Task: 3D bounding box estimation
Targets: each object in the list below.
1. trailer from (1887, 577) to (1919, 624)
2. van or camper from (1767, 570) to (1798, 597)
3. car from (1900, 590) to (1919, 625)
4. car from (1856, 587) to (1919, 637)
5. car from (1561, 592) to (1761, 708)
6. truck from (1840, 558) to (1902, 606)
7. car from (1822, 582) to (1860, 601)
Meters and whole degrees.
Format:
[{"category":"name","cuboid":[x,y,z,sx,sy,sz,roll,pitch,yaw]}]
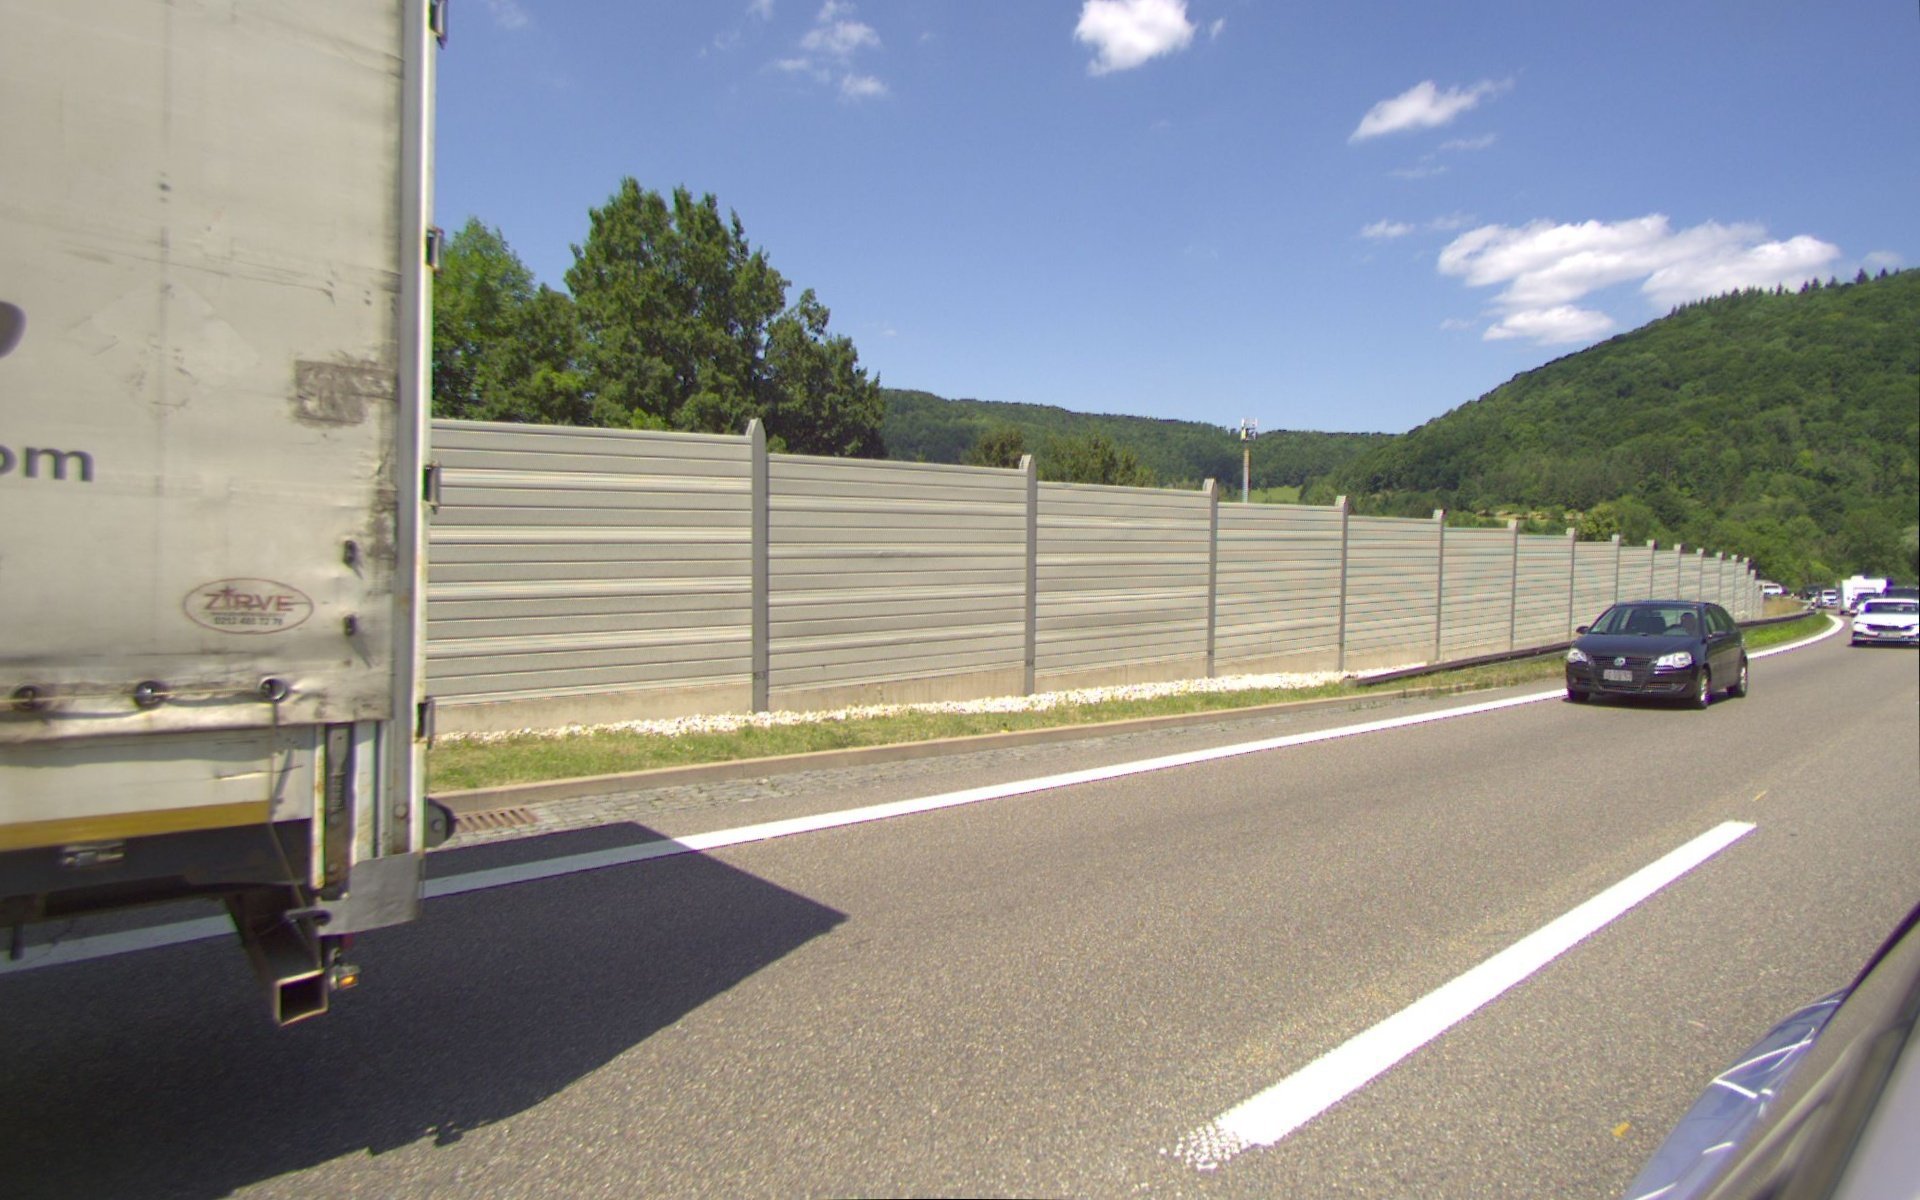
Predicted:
[{"category":"trailer","cuboid":[42.191,-0.013,44.489,1.992,1.994,3.940,-1,0,42]},{"category":"van or camper","cuboid":[98.647,-1.958,121.468,1.892,3.066,4.829,0,0,27]},{"category":"car","cuboid":[39.758,0.297,41.644,1.485,1.400,3.679,2,2,44]},{"category":"car","cuboid":[28.805,0.350,30.855,3.659,1.448,1.904,1,-1,-43]},{"category":"car","cuboid":[10.280,0.615,14.740,3.775,1.440,1.693,-1,1,-44]},{"category":"truck","cuboid":[64.034,-1.232,71.271,2.590,3.147,6.764,-3,-2,38]},{"category":"car","cuboid":[77.153,-0.752,88.671,1.685,1.552,3.642,-3,-1,30]}]
